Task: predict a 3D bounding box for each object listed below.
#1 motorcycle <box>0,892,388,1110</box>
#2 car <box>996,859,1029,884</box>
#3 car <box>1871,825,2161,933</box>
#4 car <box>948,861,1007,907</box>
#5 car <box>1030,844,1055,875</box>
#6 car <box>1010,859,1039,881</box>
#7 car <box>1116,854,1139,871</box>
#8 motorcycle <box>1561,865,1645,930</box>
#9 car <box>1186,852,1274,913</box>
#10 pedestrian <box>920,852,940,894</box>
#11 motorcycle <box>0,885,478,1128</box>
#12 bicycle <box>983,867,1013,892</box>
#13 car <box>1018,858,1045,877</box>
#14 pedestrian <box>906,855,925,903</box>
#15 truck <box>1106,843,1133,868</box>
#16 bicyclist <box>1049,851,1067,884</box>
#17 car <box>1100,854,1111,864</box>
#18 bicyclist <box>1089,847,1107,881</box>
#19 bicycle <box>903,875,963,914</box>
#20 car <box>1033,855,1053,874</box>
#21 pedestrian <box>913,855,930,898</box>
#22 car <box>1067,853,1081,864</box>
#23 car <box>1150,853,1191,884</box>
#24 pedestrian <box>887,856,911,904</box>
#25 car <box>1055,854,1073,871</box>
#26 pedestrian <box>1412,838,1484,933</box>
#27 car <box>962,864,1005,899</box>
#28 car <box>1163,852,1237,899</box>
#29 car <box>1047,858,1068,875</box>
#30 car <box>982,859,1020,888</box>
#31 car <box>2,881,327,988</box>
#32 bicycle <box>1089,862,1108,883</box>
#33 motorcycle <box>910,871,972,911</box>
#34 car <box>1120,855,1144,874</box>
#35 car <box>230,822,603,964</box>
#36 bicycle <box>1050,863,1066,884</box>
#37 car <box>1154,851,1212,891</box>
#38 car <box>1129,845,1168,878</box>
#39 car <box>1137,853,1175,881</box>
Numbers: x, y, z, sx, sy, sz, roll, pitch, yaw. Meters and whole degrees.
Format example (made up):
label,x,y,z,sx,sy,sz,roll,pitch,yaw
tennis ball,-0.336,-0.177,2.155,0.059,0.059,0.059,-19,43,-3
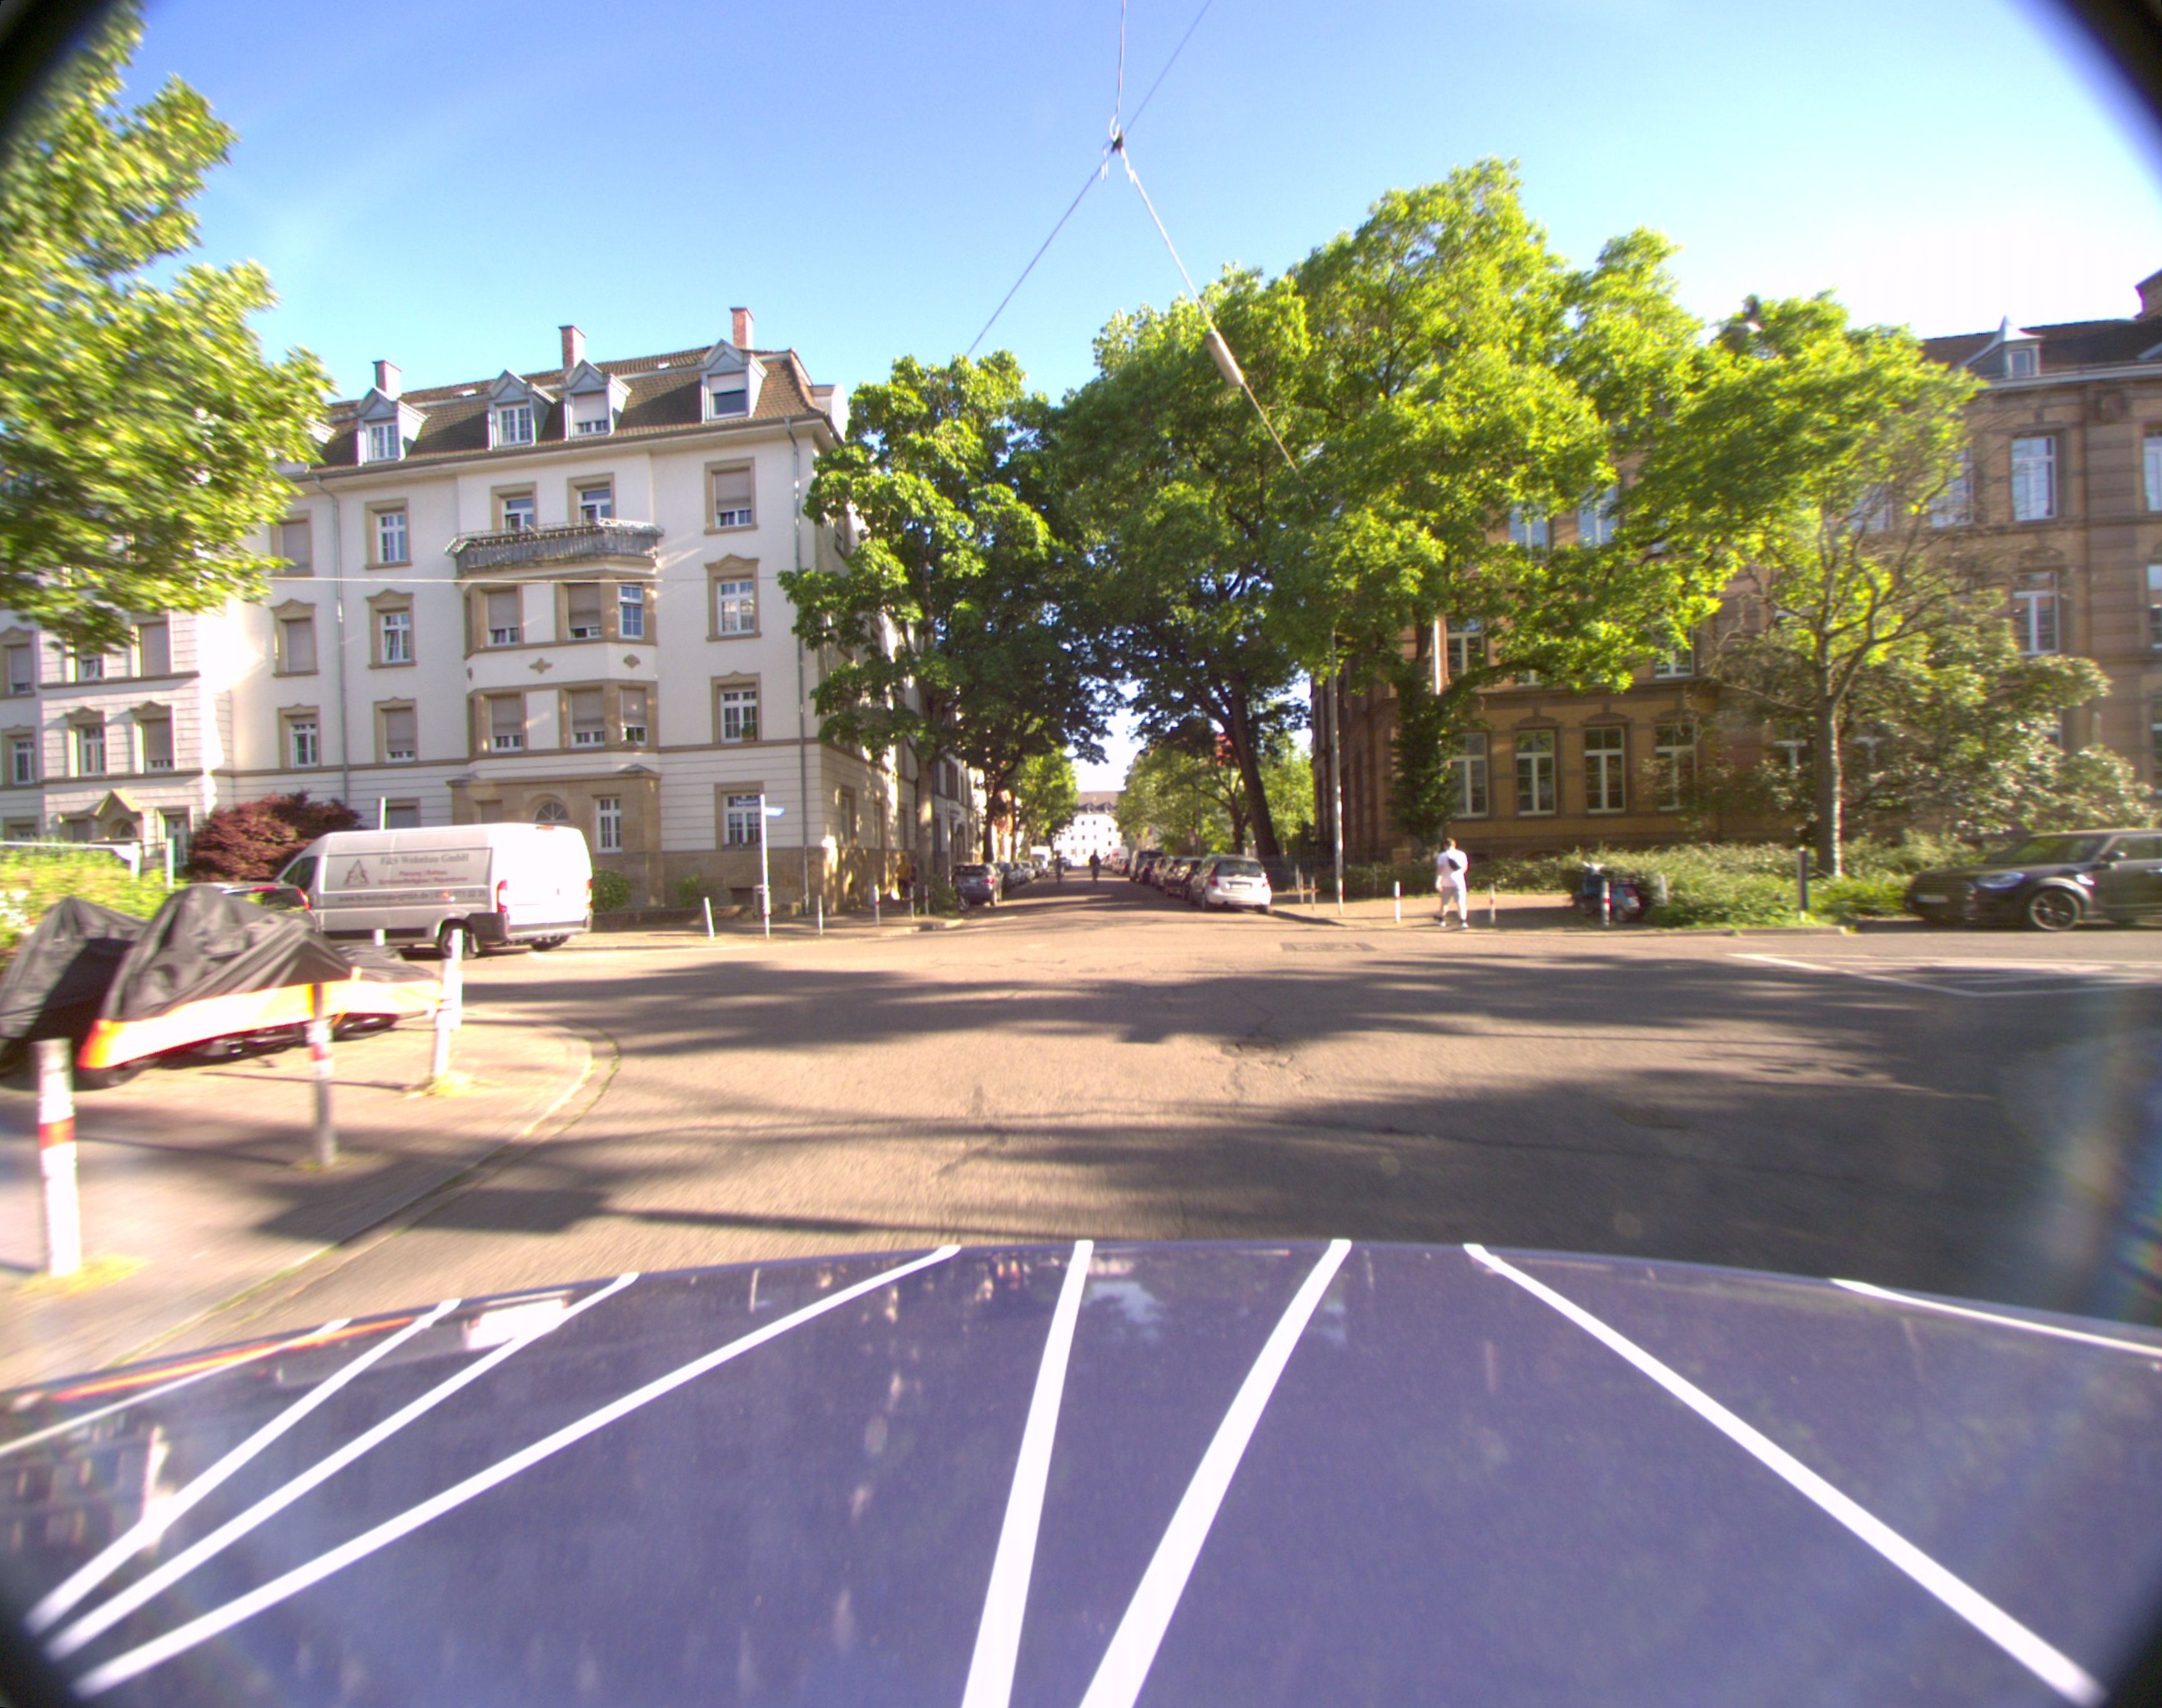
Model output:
label,x,y,z,sx,sy,sz,roll,pitch,yaw
motorcycle,-7.822,1.110,6.678,0.870,1.396,2.544,-1,0,9
car,-4.285,1.074,48.225,1.651,1.433,4.000,-2,0,0
car,15.949,0.363,12.267,4.140,1.566,1.886,-2,0,7
car,-3.786,1.063,28.444,1.685,1.531,4.134,0,0,-1
car,-3.940,0.520,78.775,1.998,2.983,6.239,-4,0,0
car,-4.211,1.143,57.074,1.824,1.521,4.000,-2,0,0
car,4.176,0.747,68.541,1.755,1.464,4.000,-3,0,0
motorcycle,9.773,0.783,14.304,0.543,1.095,1.897,-1,0,9
car,4.179,0.732,21.941,1.710,1.549,3.952,1,1,0
pedestrian,-6.722,0.847,33.866,0.706,1.834,0.840,-2,0,-6
motorcycle,-6.643,1.062,6.333,0.873,1.516,2.625,-1,-1,9
bicycle,-4.080,1.249,37.515,1.414,1.188,0.336,-2,0,-2
car,-4.015,1.080,62.065,1.812,1.412,4.000,-2,0,0
pedestrian,-5.968,0.882,27.356,0.520,1.708,0.516,-2,0,-2
truck,4.326,0.163,86.324,2.395,2.641,7.092,-2,0,-1
bicyclist,-1.322,0.774,43.641,0.934,1.809,1.078,-2,0,0
car,3.989,0.725,122.326,1.597,1.557,4.000,-2,0,0
bicyclist,0.999,0.582,43.997,0.967,1.904,1.139,-2,0,0
bicycle,-4.538,1.226,23.268,1.795,1.155,0.433,0,1,16
car,-3.536,0.993,71.403,1.660,1.674,4.082,-2,0,0
pedestrian,-6.893,0.980,32.907,0.529,1.834,0.707,-2,0,1
car,-1.122,0.800,127.780,2.146,1.758,4.809,-2,0,1
car,4.352,0.688,37.422,1.624,1.455,3.311,0,0,0
pedestrian,-6.573,0.925,27.455,0.624,1.675,0.818,-2,0,-1
car,-2.126,1.080,97.216,2.146,2.002,4.863,-2,0,0
pedestrian,7.016,0.586,14.563,0.805,1.736,1.005,-2,0,-6
car,-4.320,1.203,34.093,1.728,1.398,3.854,-1,0,-5
car,4.146,0.721,27.101,1.586,1.455,3.997,2,1,-6
car,-2.045,1.076,66.512,1.654,1.448,4.000,-2,0,0
car,-4.440,1.048,42.450,1.639,1.523,4.000,-2,0,0
car,-14.453,1.237,12.086,3.527,1.474,1.640,-2,0,8
bicycle,1.007,1.053,43.936,0.985,1.136,2.547,-1,0,0
motorcycle,-4.437,1.168,24.136,1.855,1.205,0.678,1,-1,-3
car,4.158,0.849,62.190,1.739,1.456,4.000,-1,0,0
car,-12.722,0.732,14.740,5.656,2.453,2.307,-1,0,9
bicycle,-1.314,1.082,43.688,0.810,1.136,2.547,-1,0,0
car,4.230,0.678,32.033,1.793,1.524,4.000,1,0,-1
car,4.186,0.439,47.709,1.998,1.946,5.042,1,0,0
car,4.117,0.690,42.226,1.731,1.455,3.844,0,0,0
